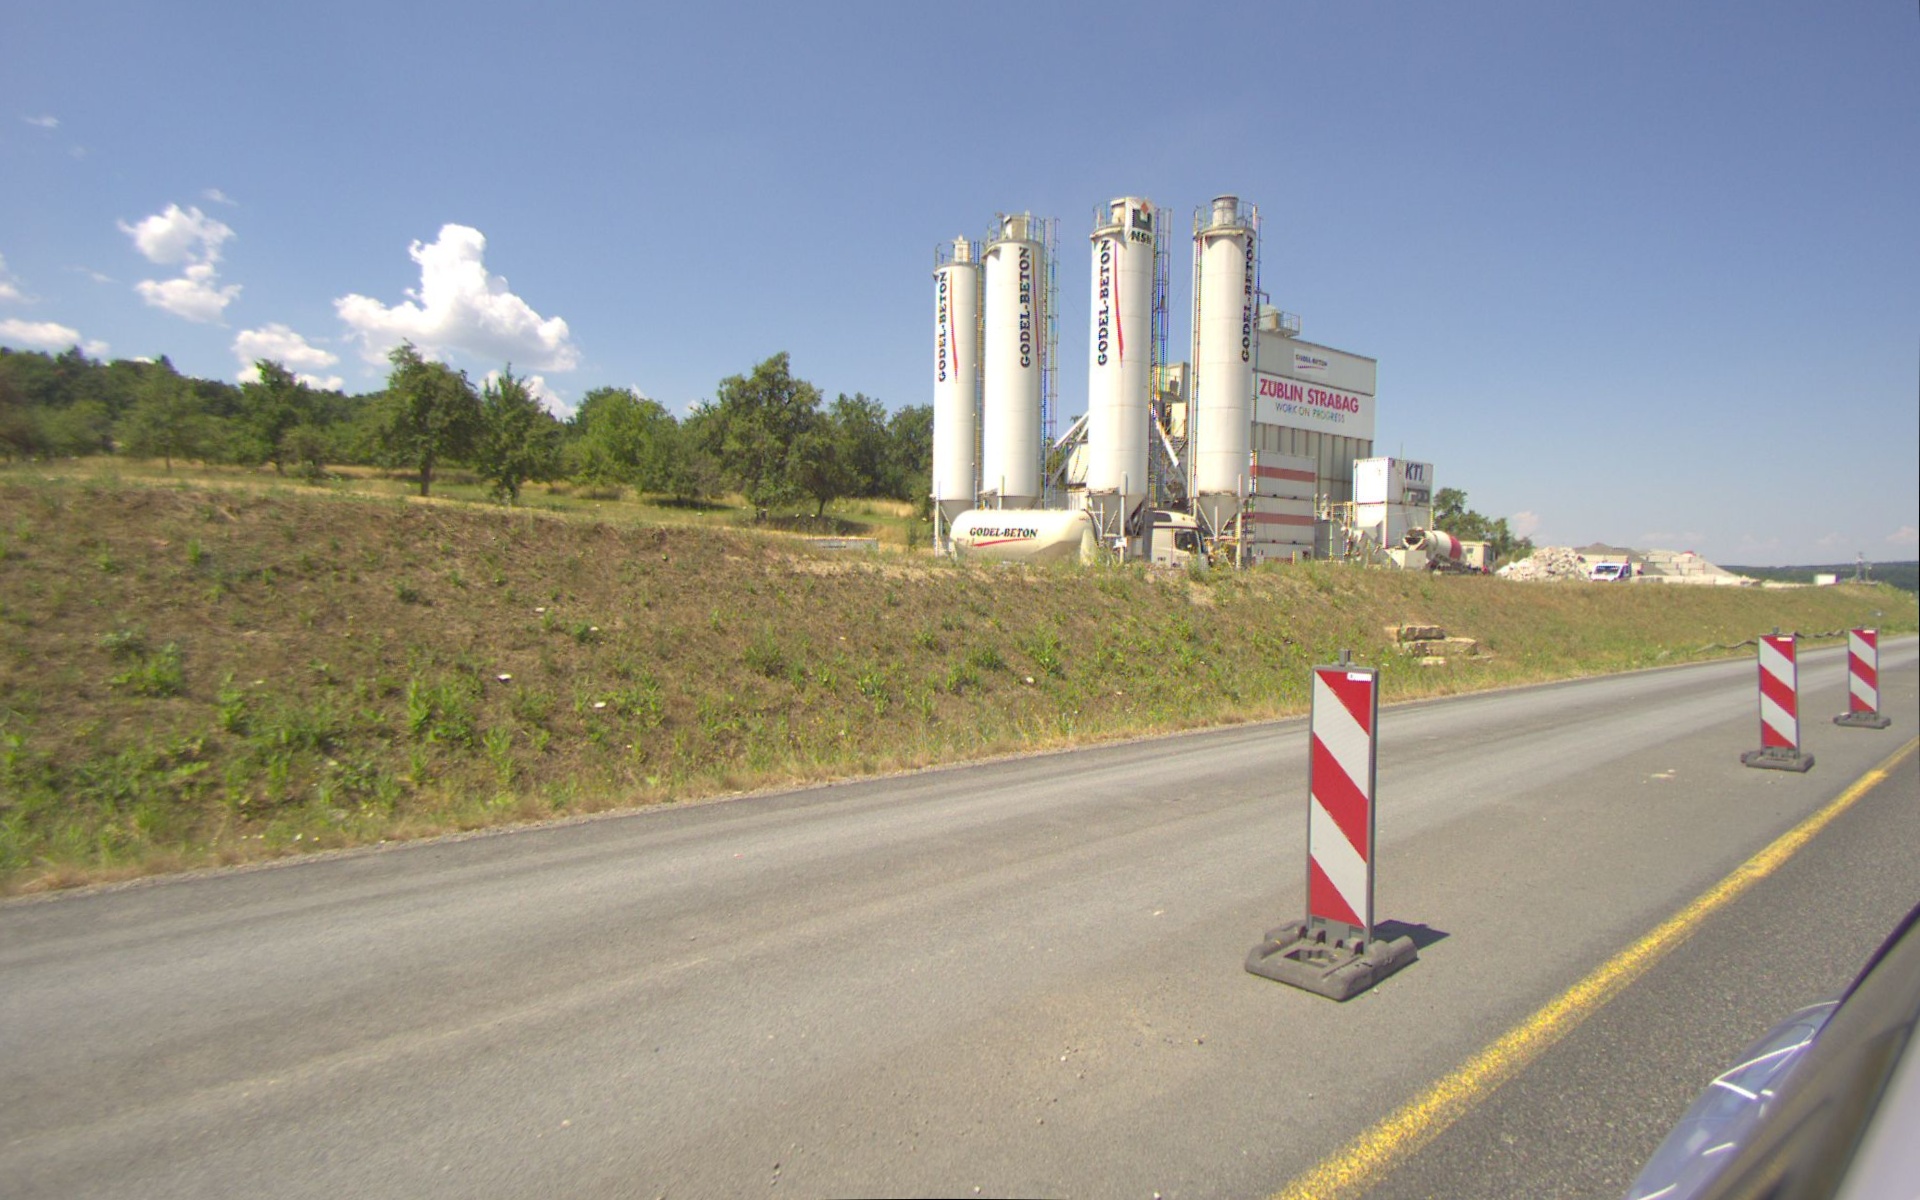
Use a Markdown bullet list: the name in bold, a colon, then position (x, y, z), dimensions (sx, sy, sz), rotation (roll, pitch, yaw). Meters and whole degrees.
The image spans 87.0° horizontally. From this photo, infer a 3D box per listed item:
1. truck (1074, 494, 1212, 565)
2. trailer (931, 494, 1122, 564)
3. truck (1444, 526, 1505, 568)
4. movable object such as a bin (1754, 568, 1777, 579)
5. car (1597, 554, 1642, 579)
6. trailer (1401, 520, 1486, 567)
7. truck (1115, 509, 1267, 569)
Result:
- **truck**: position (7.303, -2.736, 40.299), dimensions (5.228, 2.576, 2.893), rotation (0, 0, 13)
- **trailer**: position (2.626, -2.889, 43.381), dimensions (2.423, 2.639, 8.903), rotation (0, 1, -43)
- **truck**: position (33.441, -3.387, 65.745), dimensions (3.966, 2.577, 2.022), rotation (0, 0, -38)
- **movable object such as a bin**: position (53.565, -1.765, 67.285), dimensions (2.210, 0.690, 0.837), rotation (-1, 0, -41)
- **car**: position (50.275, -2.534, 77.119), dimensions (3.539, 1.785, 1.989), rotation (0, 0, -41)
- **trailer**: position (30.317, -3.469, 63.325), dimensions (6.809, 2.677, 1.999), rotation (0, 0, -38)
- **truck**: position (12.696, -3.282, 56.571), dimensions (2.412, 2.904, 9.103), rotation (0, 0, -34)
